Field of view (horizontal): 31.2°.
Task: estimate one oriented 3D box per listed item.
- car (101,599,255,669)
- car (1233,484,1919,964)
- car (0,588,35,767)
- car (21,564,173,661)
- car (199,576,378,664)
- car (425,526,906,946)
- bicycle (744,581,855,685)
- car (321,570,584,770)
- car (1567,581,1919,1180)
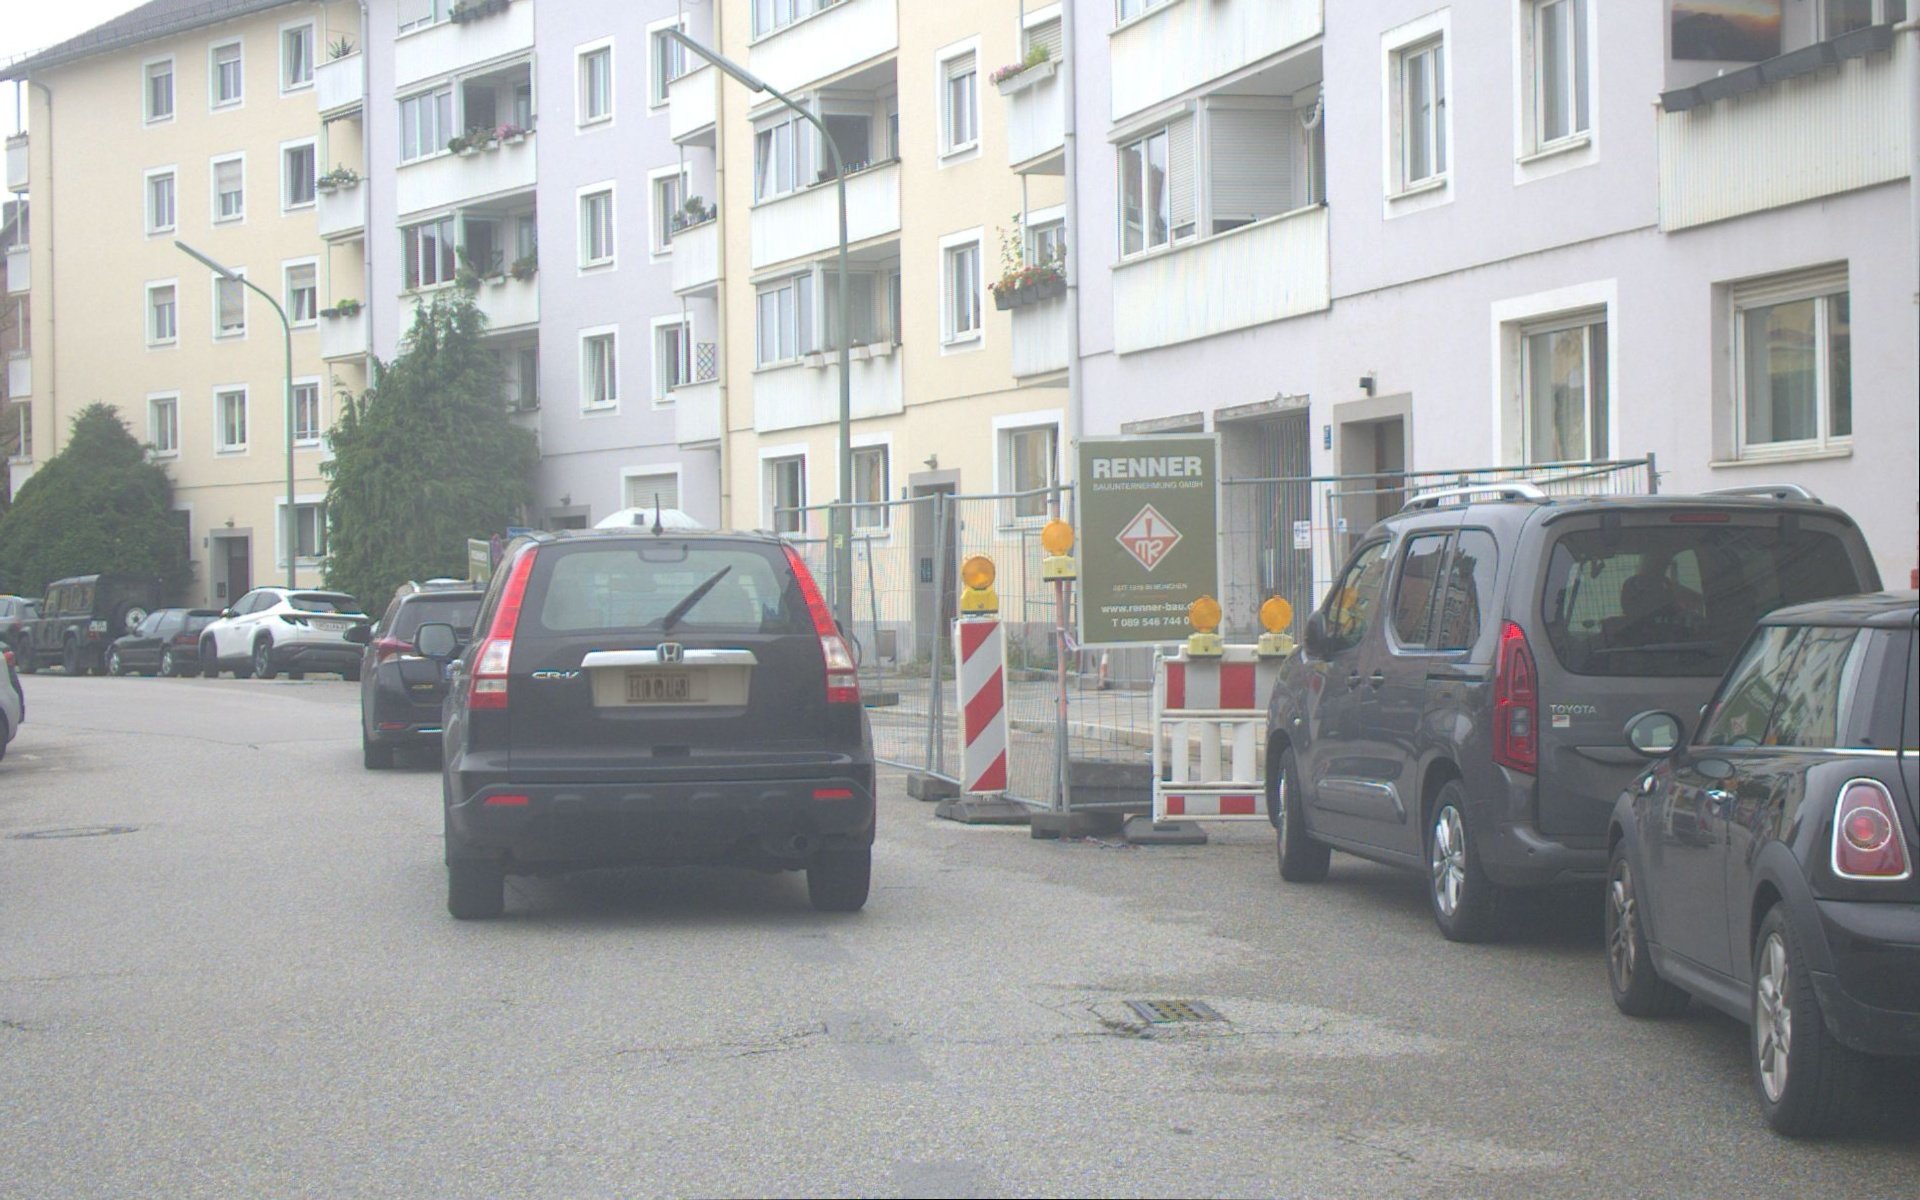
[{"bbox_3d":[-14.785,0.618,64.889,1.697,1.232,3.602,0,1,-33],"label":"car"},{"bbox_3d":[2.549,0.459,15.136,1.777,1.800,4.277,1,0,-8],"label":"car"},{"bbox_3d":[-9.773,0.792,27.840,1.683,1.476,4.077,-5,0,40],"label":"car"},{"bbox_3d":[-17.271,0.223,68.725,1.724,1.871,4.000,0,1,-33],"label":"car"},{"bbox_3d":[-11.883,0.324,60.654,1.724,1.478,4.000,0,1,-33],"label":"car"},{"bbox_3d":[-1.449,0.522,15.633,1.890,1.642,3.992,-1,0,-8],"label":"car"},{"bbox_3d":[-2.210,0.432,46.972,0.968,1.384,2.564,0,0,-15],"label":"bicycle"},{"bbox_3d":[-4.152,0.508,27.685,1.678,1.476,4.088,-1,0,-14],"label":"car"},{"bbox_3d":[2.958,0.678,10.218,1.708,1.442,3.829,1,0,2],"label":"car"}]
